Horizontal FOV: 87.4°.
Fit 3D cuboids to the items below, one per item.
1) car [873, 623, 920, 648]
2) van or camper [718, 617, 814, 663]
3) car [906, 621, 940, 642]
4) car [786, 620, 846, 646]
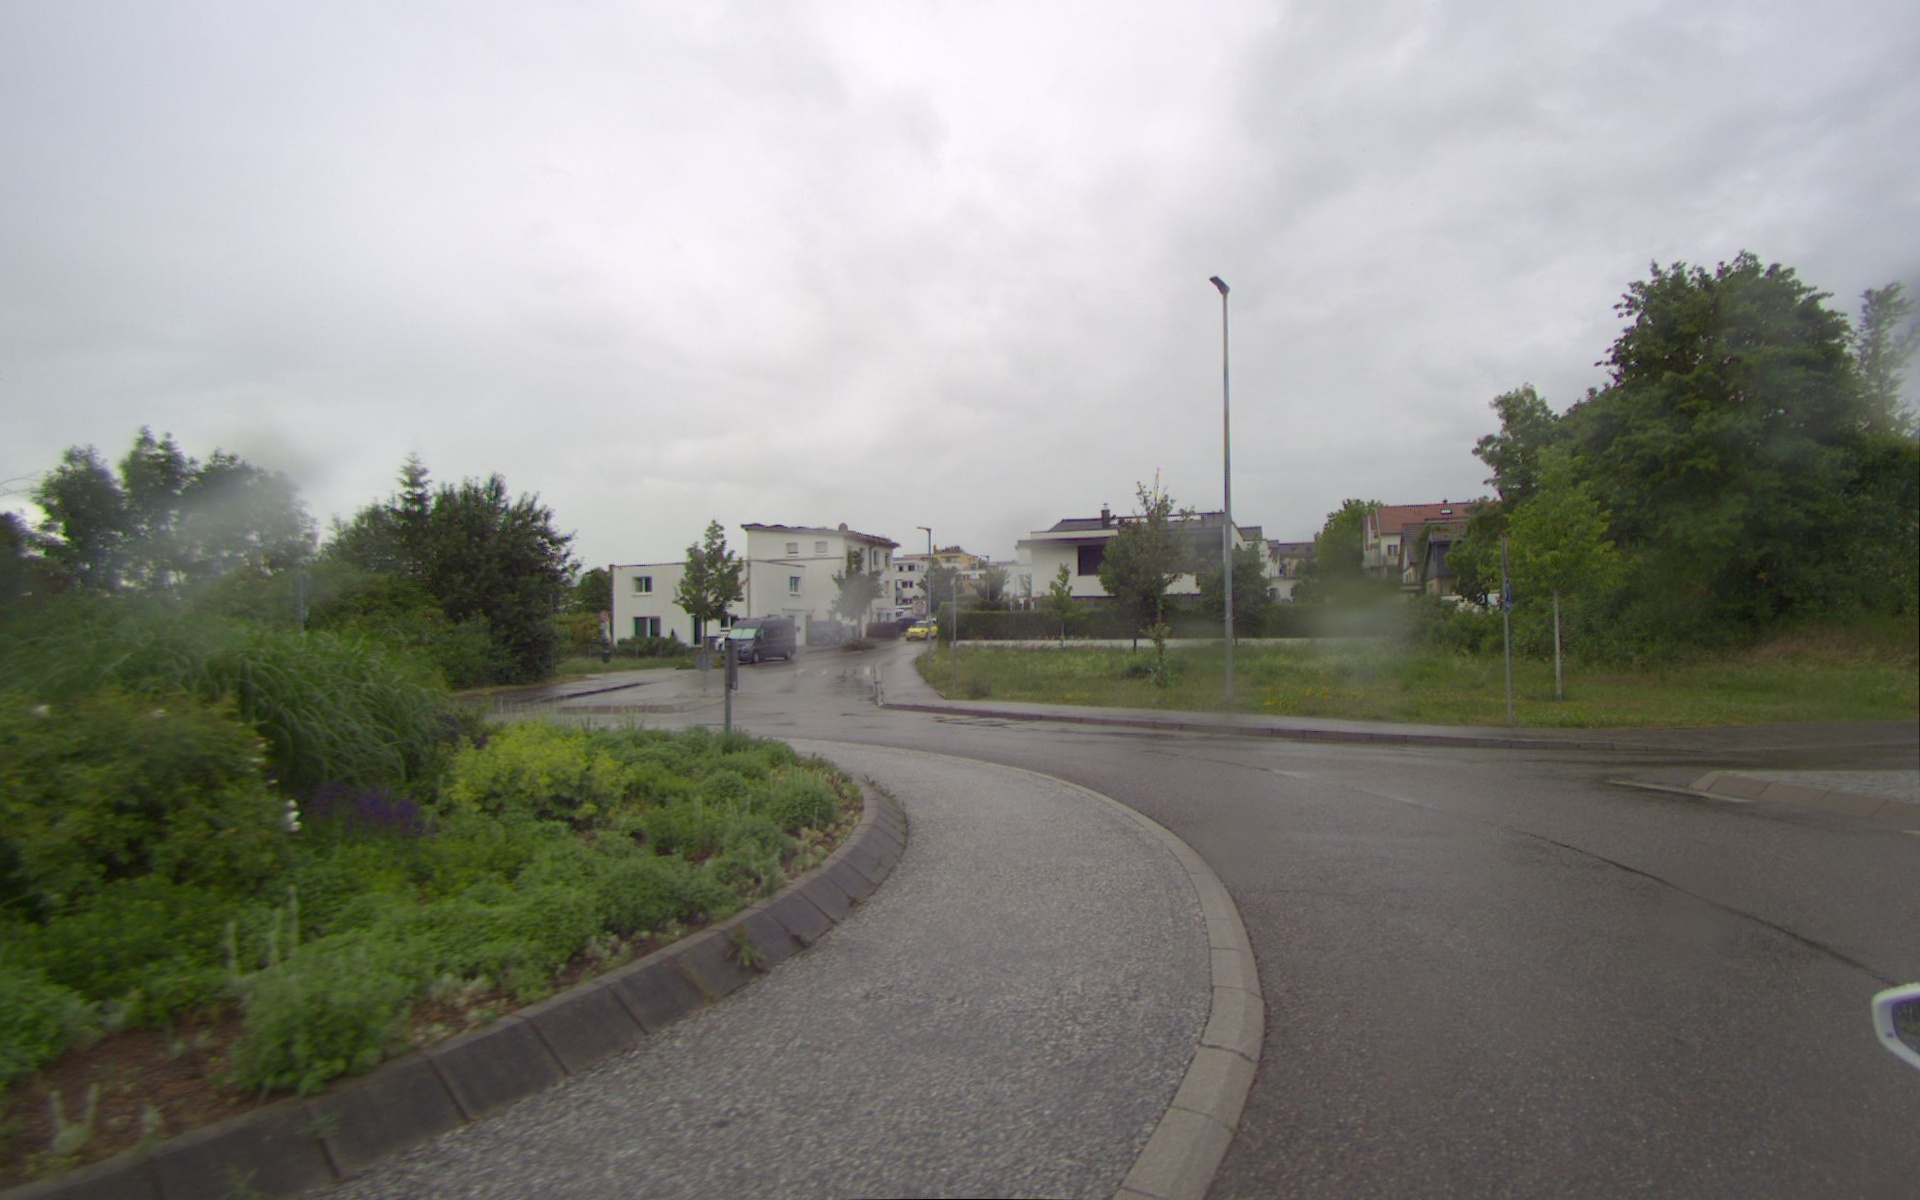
[{"bbox_3d":[-5.357,2.996,85.267,3.640,2.040,1.757,0,-2,13],"label":"car"},{"bbox_3d":[-11.044,2.243,57.734,2.482,2.526,6.207,-1,-1,21],"label":"van or camper"},{"bbox_3d":[-3.011,2.552,82.526,1.653,1.679,3.576,-1,-2,19],"label":"car"},{"bbox_3d":[-10.878,2.504,75.835,4.128,1.865,1.792,0,-2,12],"label":"car"}]
